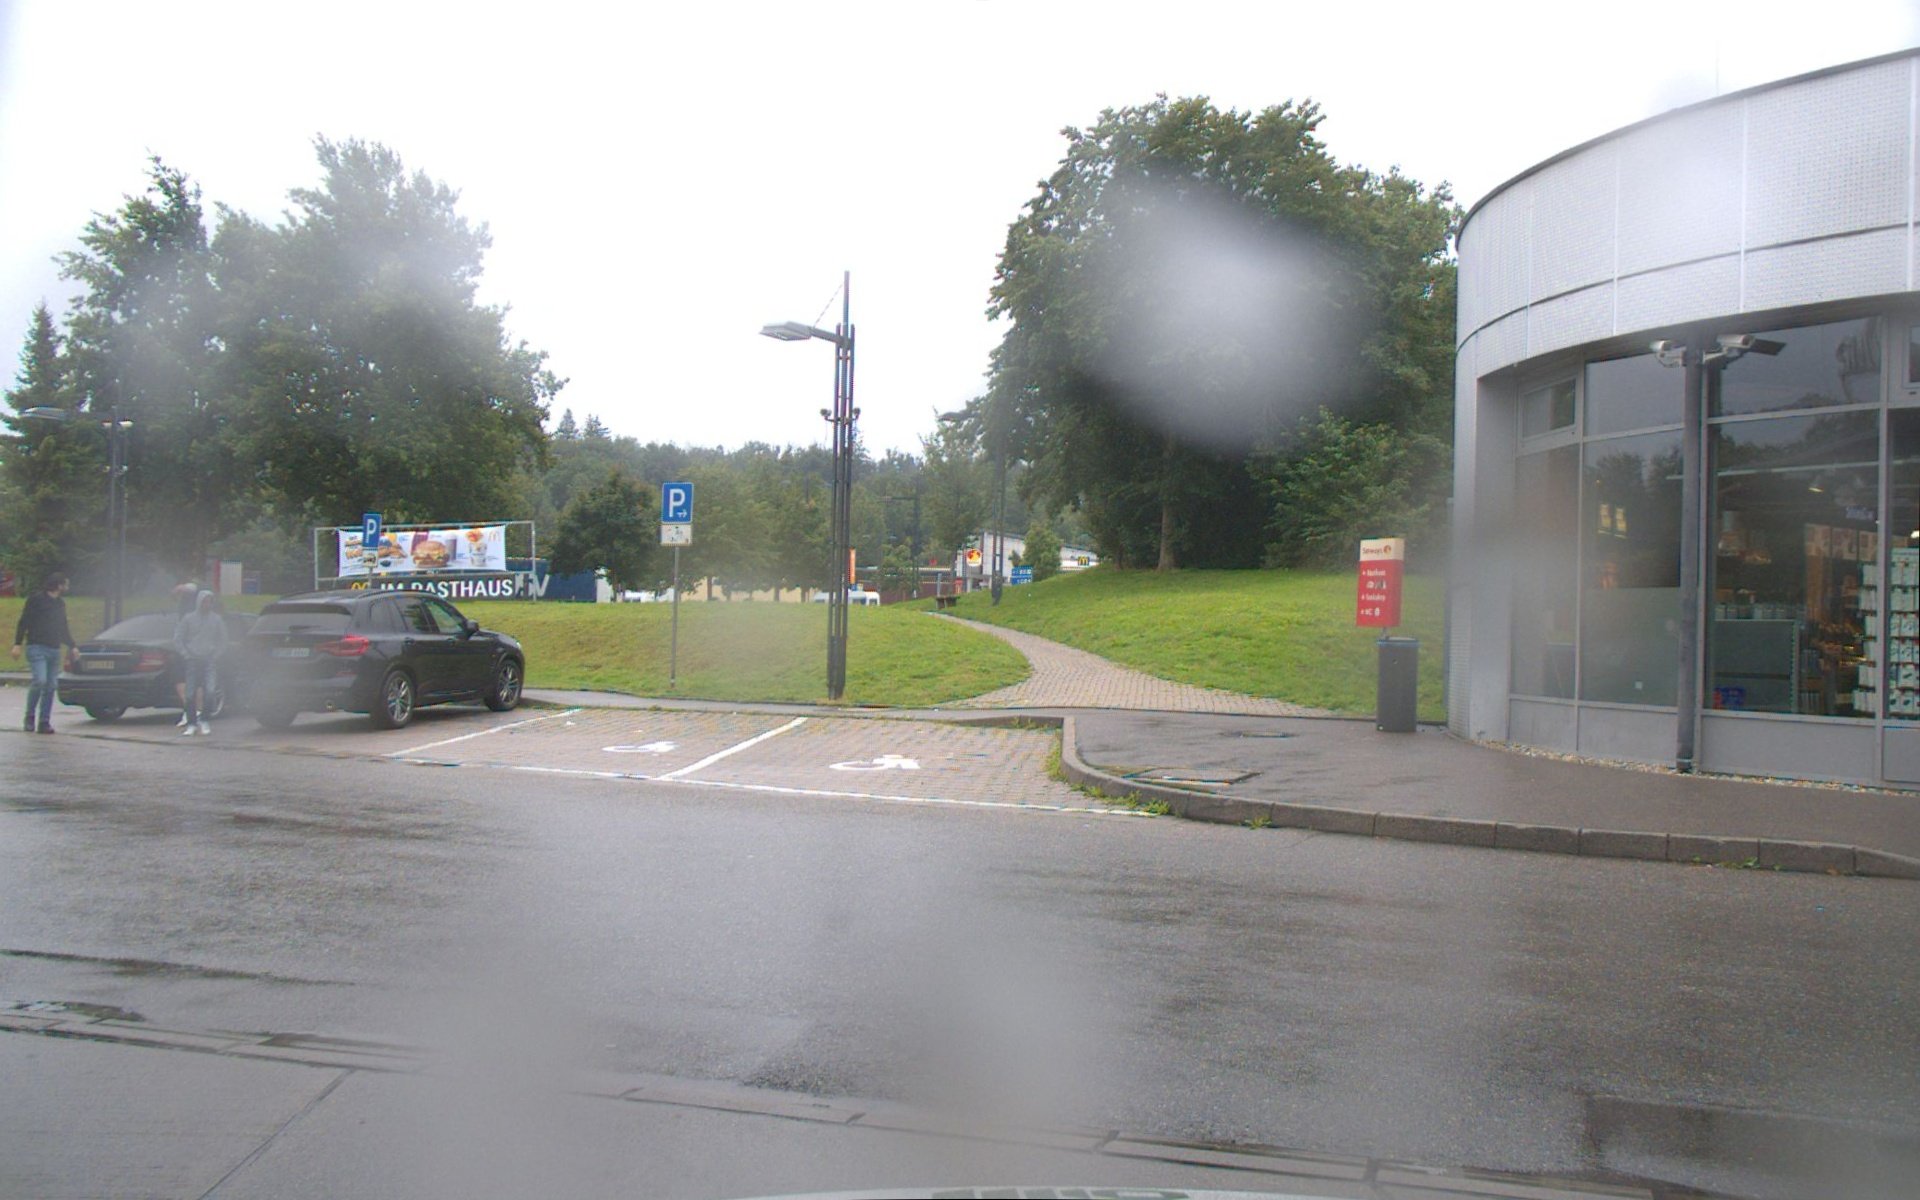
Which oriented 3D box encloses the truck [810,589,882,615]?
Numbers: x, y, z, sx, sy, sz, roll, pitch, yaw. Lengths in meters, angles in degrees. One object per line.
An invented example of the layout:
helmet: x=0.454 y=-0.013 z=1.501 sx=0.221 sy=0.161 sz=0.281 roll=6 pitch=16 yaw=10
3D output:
truck: x=-9.237 y=0.150 z=133.655 sx=5.298 sy=2.049 sz=2.366 roll=1 pitch=0 yaw=24

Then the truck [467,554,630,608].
truck: x=-24.932 y=-1.076 z=101.257 sx=2.142 sy=2.971 sz=13.093 roll=1 pitch=0 yaw=23

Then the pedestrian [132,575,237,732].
pedestrian: x=-9.778 y=0.663 z=20.867 sx=0.931 sy=1.920 sz=0.704 roll=1 pitch=-1 yaw=15

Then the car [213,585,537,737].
car: x=-7.364 y=0.698 z=21.360 sx=1.973 sy=1.741 sz=4.347 roll=-1 pitch=1 yaw=11

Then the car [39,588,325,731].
car: x=-10.572 y=0.725 z=22.878 sx=1.976 sy=1.741 sz=4.342 roll=-1 pitch=1 yaw=-2

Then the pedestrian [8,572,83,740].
pedestrian: x=-10.787 y=0.642 z=19.502 sx=0.695 sy=1.920 sz=0.884 roll=1 pitch=-1 yaw=-32

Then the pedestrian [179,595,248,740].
pedestrian: x=-8.785 y=0.776 z=19.468 sx=0.692 sy=1.660 sz=0.947 roll=1 pitch=-1 yaw=-24

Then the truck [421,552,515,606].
truck: x=-27.983 y=-1.159 z=94.242 sx=2.142 sy=2.971 sz=5.384 roll=1 pitch=0 yaw=24
